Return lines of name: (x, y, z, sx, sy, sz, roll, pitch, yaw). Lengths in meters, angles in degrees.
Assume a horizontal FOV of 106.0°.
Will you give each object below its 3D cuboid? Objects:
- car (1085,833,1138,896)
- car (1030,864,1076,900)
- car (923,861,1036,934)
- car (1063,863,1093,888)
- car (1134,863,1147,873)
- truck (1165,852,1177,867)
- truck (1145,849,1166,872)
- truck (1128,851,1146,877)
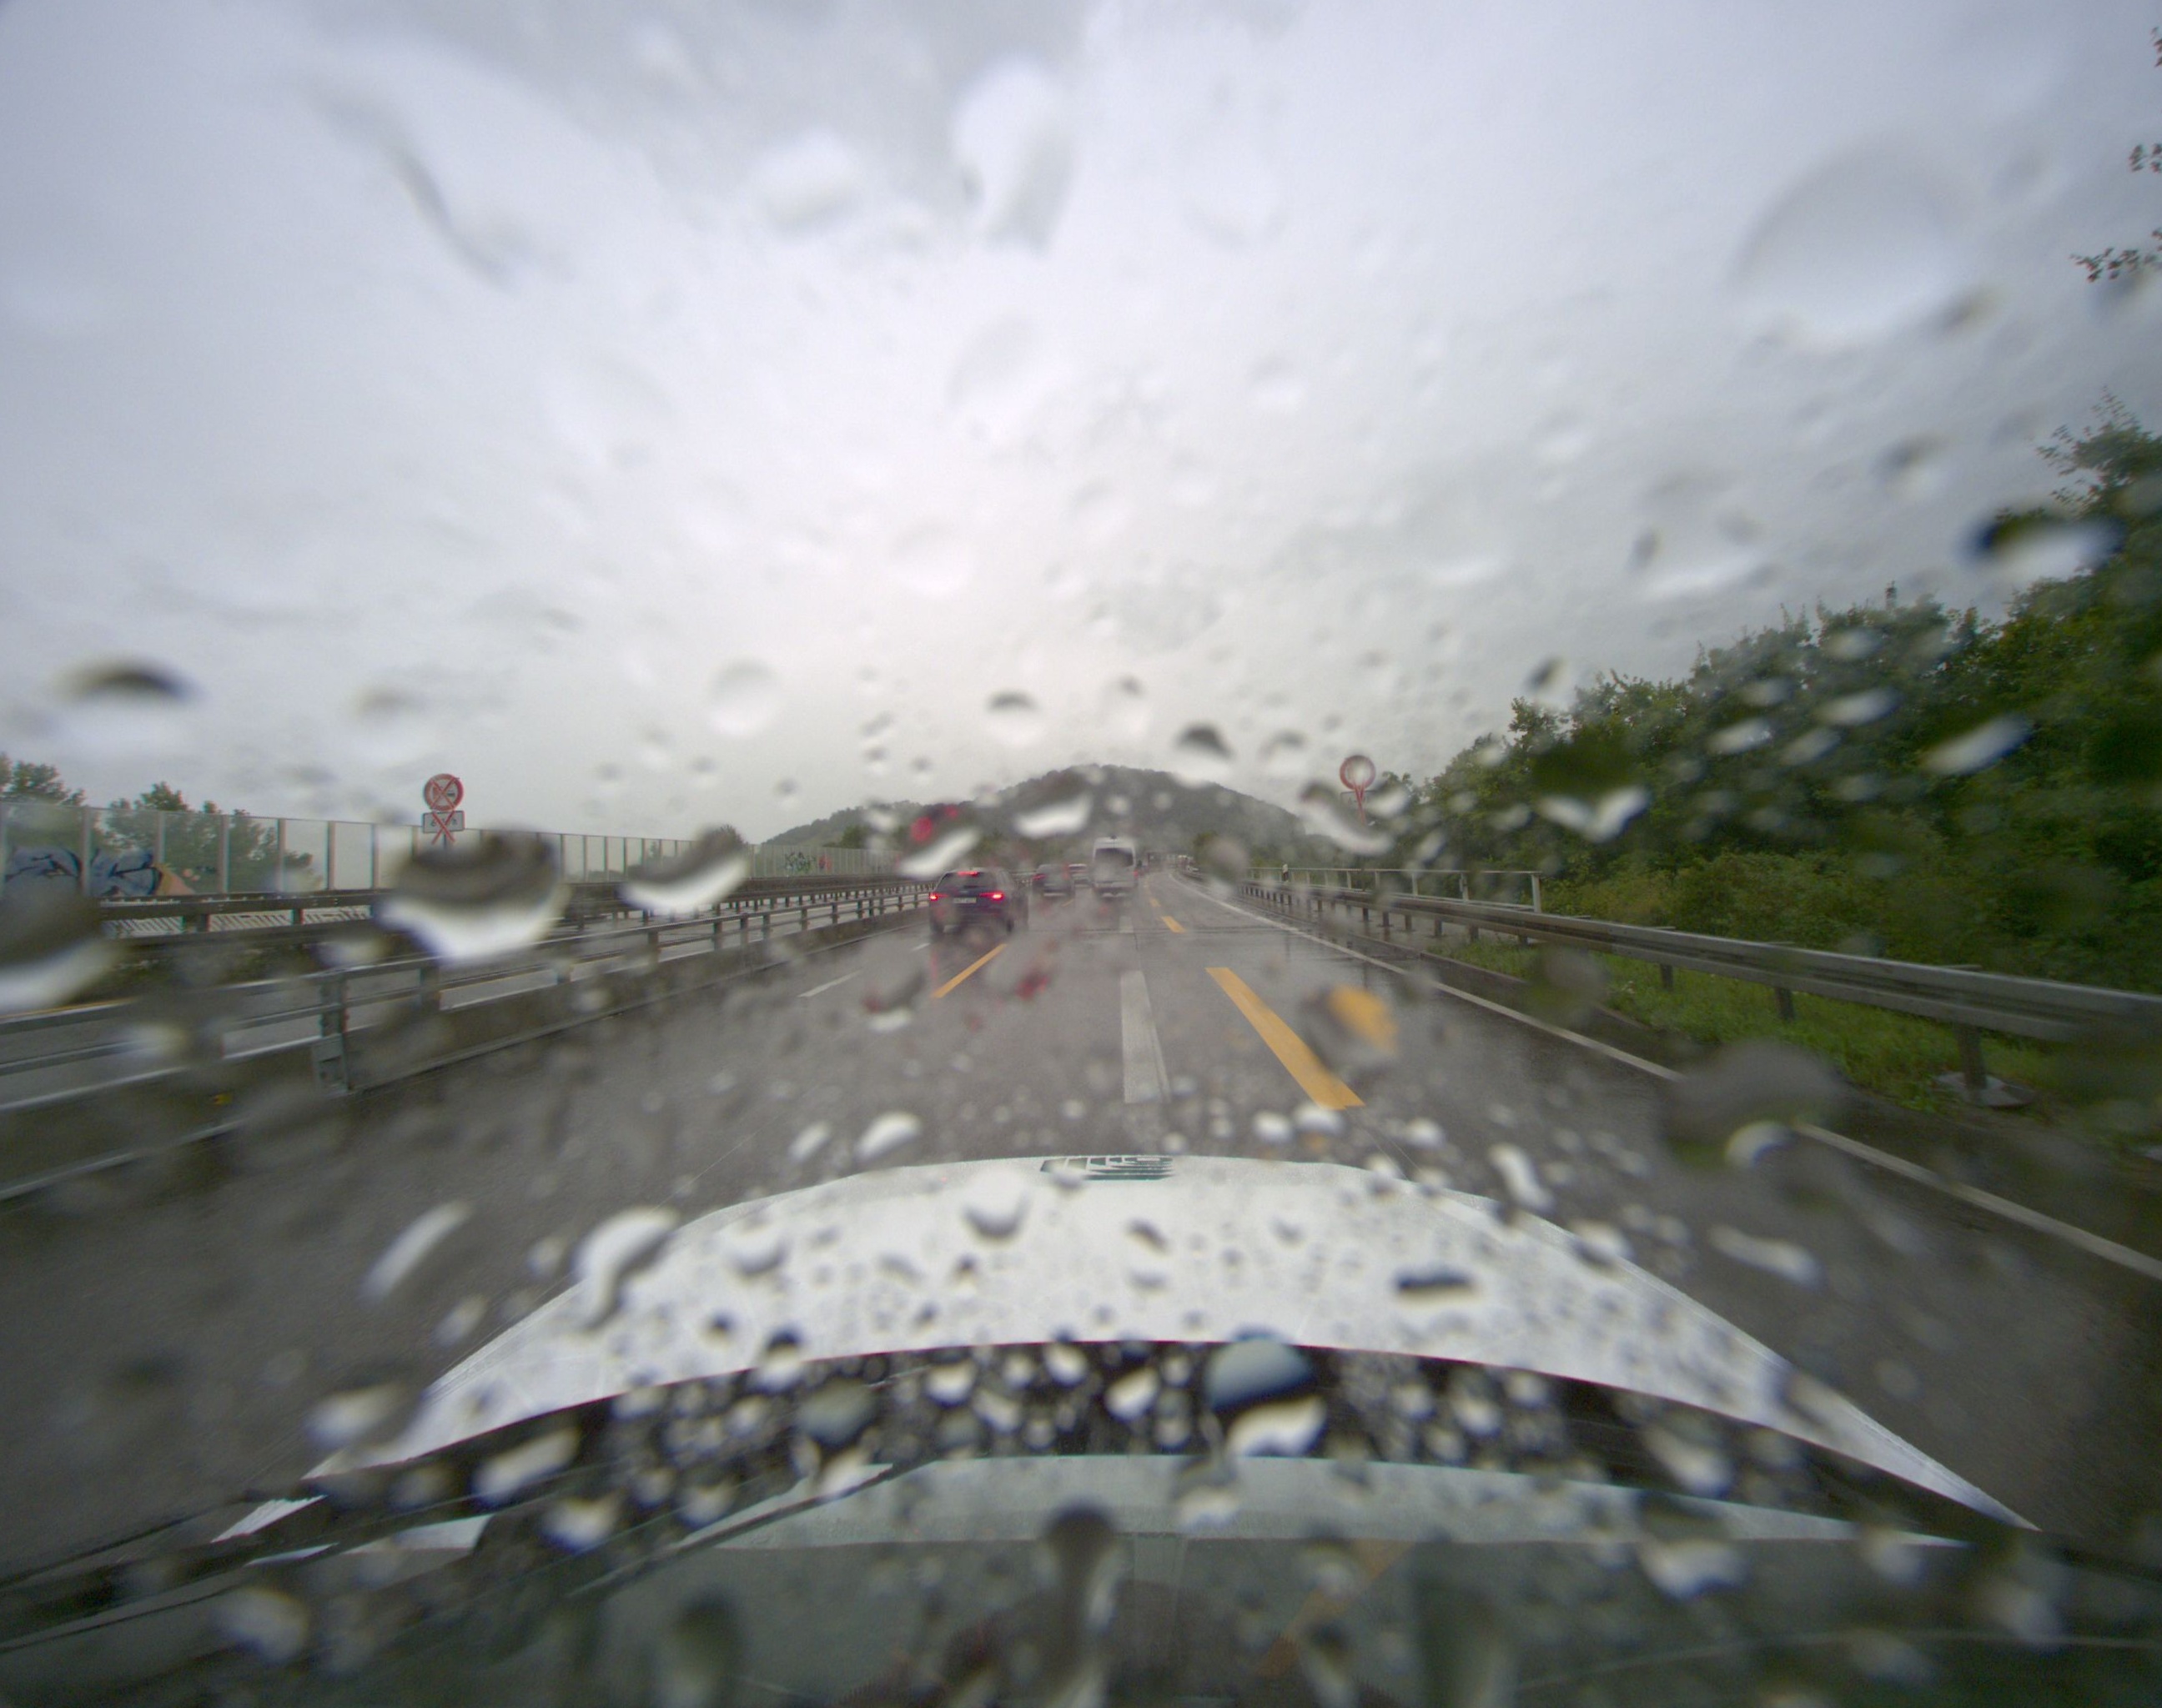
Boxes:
car: (1.416, 0.490, 35.888, 2.136, 2.571, 5.394, 0, -1, 3)
car: (-1.277, 1.301, 38.881, 1.987, 1.585, 4.413, 0, -1, 0)
car: (-2.218, 0.935, 19.146, 1.986, 1.498, 4.631, 0, -1, 1)
car: (-0.208, 1.476, 55.448, 1.987, 1.617, 4.794, 0, -1, -1)
car: (8.654, 2.072, 118.595, 1.764, 1.475, 4.007, 0, -1, 6)
truck: (25.736, 1.625, 232.743, 3.018, 4.407, 9.646, 0, -1, 9)
truck: (14.849, 1.349, 162.249, 3.560, 4.407, 9.647, 0, -1, 9)
truck: (6.966, 1.233, 100.065, 1.984, 3.109, 8.510, 0, -1, 5)
